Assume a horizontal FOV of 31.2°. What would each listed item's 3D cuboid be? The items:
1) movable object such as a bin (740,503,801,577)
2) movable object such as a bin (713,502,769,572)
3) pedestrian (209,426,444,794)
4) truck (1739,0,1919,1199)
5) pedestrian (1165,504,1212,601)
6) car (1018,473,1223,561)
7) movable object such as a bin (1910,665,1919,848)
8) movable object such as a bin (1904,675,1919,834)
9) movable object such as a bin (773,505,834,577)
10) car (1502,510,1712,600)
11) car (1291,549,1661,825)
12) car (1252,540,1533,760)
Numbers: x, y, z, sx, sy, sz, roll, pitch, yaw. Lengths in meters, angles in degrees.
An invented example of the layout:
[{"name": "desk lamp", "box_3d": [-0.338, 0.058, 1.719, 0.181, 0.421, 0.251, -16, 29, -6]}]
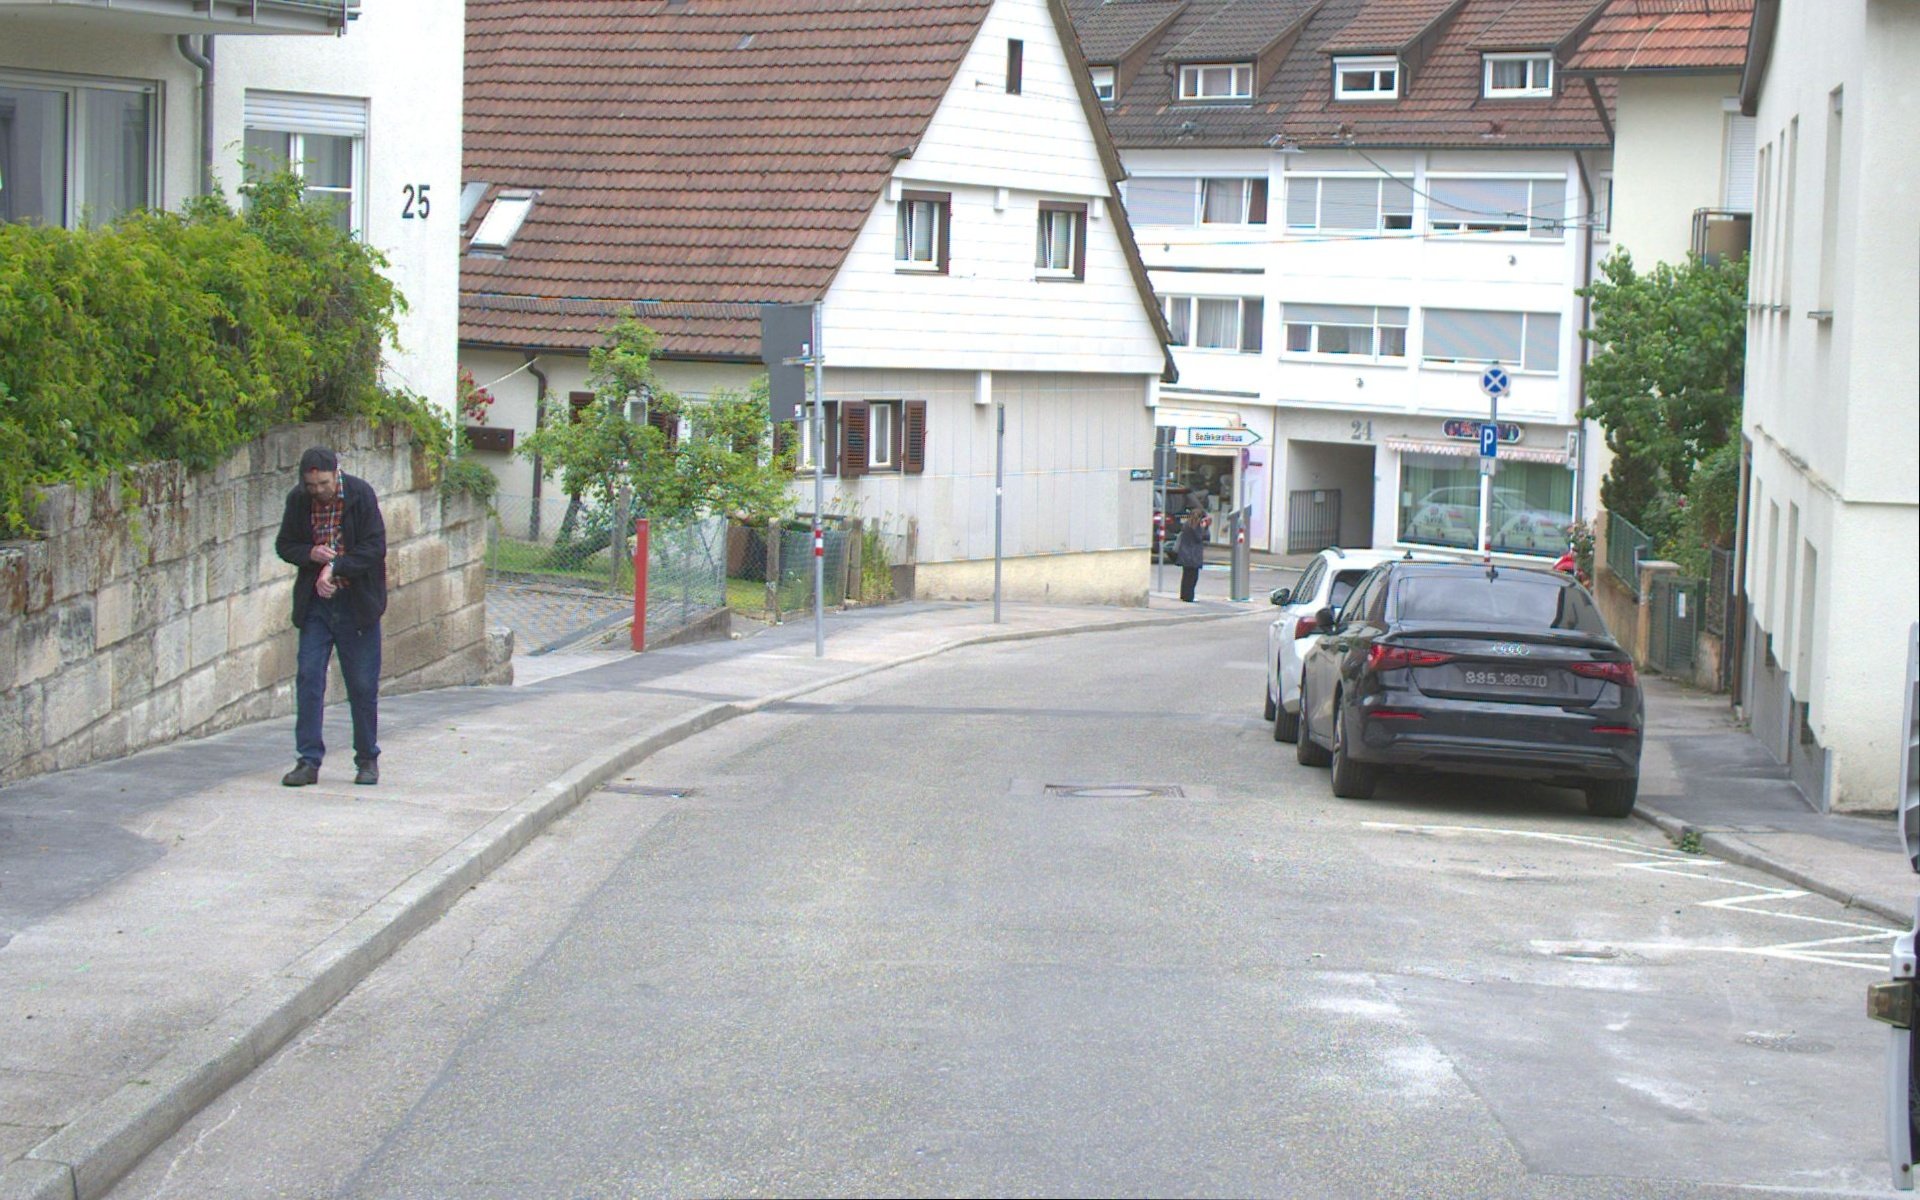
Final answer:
[{"name": "movable object such as a bin", "box_3d": [-2.538, -0.809, 46.038, 0.528, 0.914, 0.489, 8, 2, 35]}, {"name": "movable object such as a bin", "box_3d": [-2.955, -0.847, 46.398, 0.495, 0.875, 0.452, 8, 2, 36]}, {"name": "pedestrian", "box_3d": [-3.058, 0.040, 16.676, 0.840, 1.672, 0.977, 4, 1, 0]}, {"name": "truck", "box_3d": [3.090, -0.249, 2.925, 2.675, 3.585, 8.106, 3, 1, -1]}, {"name": "pedestrian", "box_3d": [4.074, -0.841, 61.305, 0.646, 1.679, 0.604, 2, 3, -9]}, {"name": "car", "box_3d": [3.553, -1.873, 76.806, 1.942, 1.773, 4.367, -1, 4, -44]}, {"name": "movable object such as a bin", "box_3d": [5.039, 0.784, 17.101, 0.464, 0.914, 0.542, -1, 1, 1]}, {"name": "movable object such as a bin", "box_3d": [5.511, 0.854, 18.833, 0.433, 0.863, 0.452, 0, 3, -40]}, {"name": "movable object such as a bin", "box_3d": [-2.089, -0.786, 45.774, 0.528, 0.881, 0.489, 8, 2, 35]}, {"name": "car", "box_3d": [12.722, -0.894, 67.713, 1.692, 1.551, 3.694, 0, 4, -43]}, {"name": "car", "box_3d": [3.072, 0.455, 21.206, 1.674, 1.403, 4.051, 4, 1, 1]}, {"name": "car", "box_3d": [3.261, 0.320, 26.633, 1.795, 1.440, 4.297, 4, 1, 4]}]
